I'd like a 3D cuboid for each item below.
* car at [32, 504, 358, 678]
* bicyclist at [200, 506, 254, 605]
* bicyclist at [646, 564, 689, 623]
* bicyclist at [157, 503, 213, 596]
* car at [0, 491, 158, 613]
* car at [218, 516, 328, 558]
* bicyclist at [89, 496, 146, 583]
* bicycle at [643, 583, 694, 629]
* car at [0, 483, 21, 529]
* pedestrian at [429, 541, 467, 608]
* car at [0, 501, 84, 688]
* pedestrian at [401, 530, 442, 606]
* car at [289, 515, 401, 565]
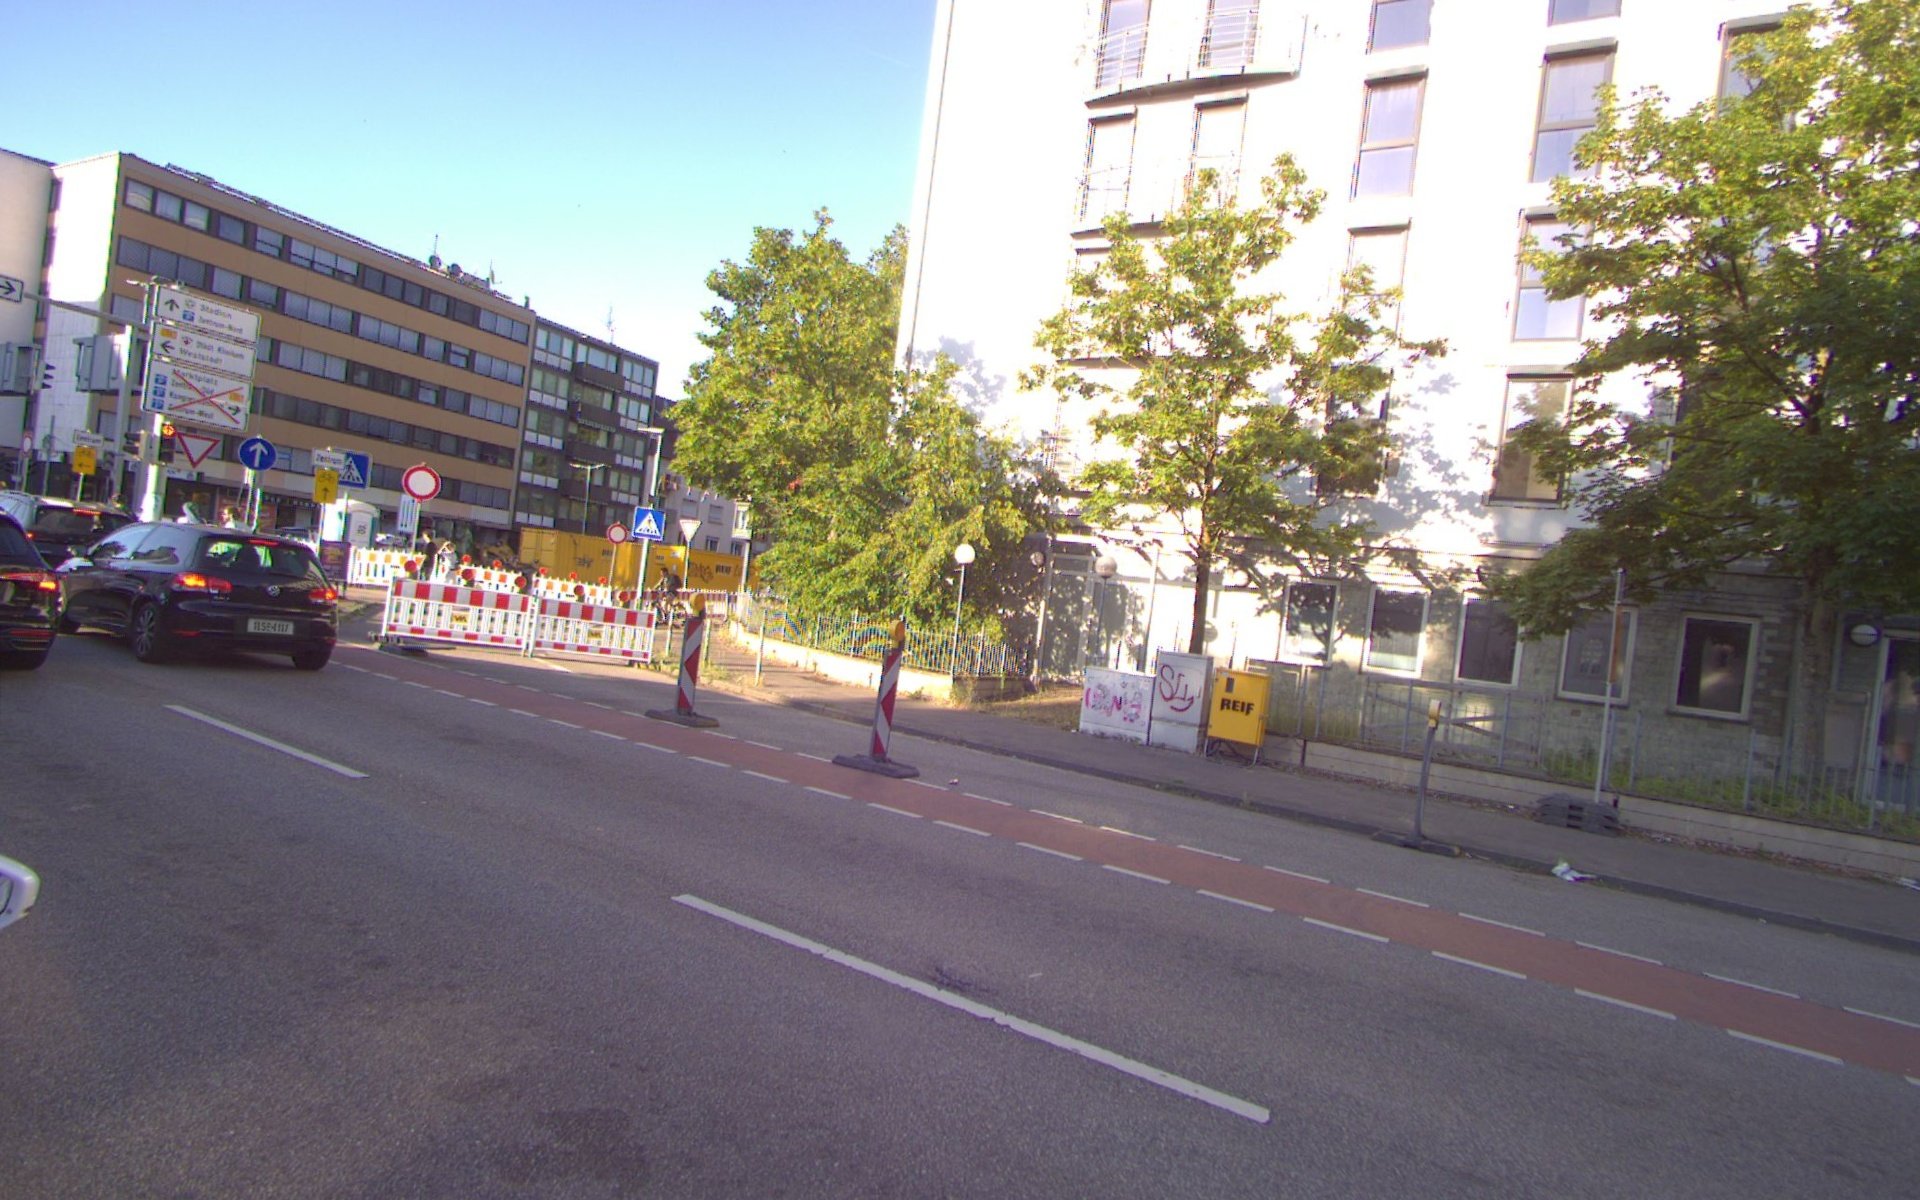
[{"bbox_3d":[-8.774,-0.125,11.482,3.683,1.466,1.637,7,-2,32],"label":"car"},{"bbox_3d":[-11.970,-0.720,16.431,0.474,1.544,0.441,7,1,32],"label":"bicyclist"},{"bbox_3d":[-8.607,-0.188,29.614,0.609,1.608,0.814,8,0,27],"label":"bicyclist"},{"bbox_3d":[-13.658,-0.892,17.724,0.713,1.544,0.441,7,1,32],"label":"bicyclist"},{"bbox_3d":[-13.324,-0.761,14.617,3.250,1.467,1.507,7,0,32],"label":"car"},{"bbox_3d":[-30.877,-2.816,45.323,1.667,1.405,3.680,7,0,28],"label":"car"},{"bbox_3d":[-16.109,-1.158,19.227,0.713,1.544,0.514,7,1,32],"label":"bicyclist"},{"bbox_3d":[-8.579,0.189,29.623,0.367,1.174,1.499,8,-1,27],"label":"bicycle"},{"bbox_3d":[-35.711,-3.596,34.778,1.756,1.568,4.350,7,-1,26],"label":"car"},{"bbox_3d":[-13.390,-0.660,26.324,0.446,1.691,0.604,7,0,8],"label":"pedestrian"},{"bbox_3d":[-9.436,-0.292,8.601,4.144,1.437,1.685,7,-2,32],"label":"car"},{"bbox_3d":[-13.679,-0.809,25.567,0.478,1.857,0.572,7,1,12],"label":"pedestrian"},{"bbox_3d":[-30.757,-2.957,50.398,1.967,1.839,4.221,7,0,32],"label":"car"}]
